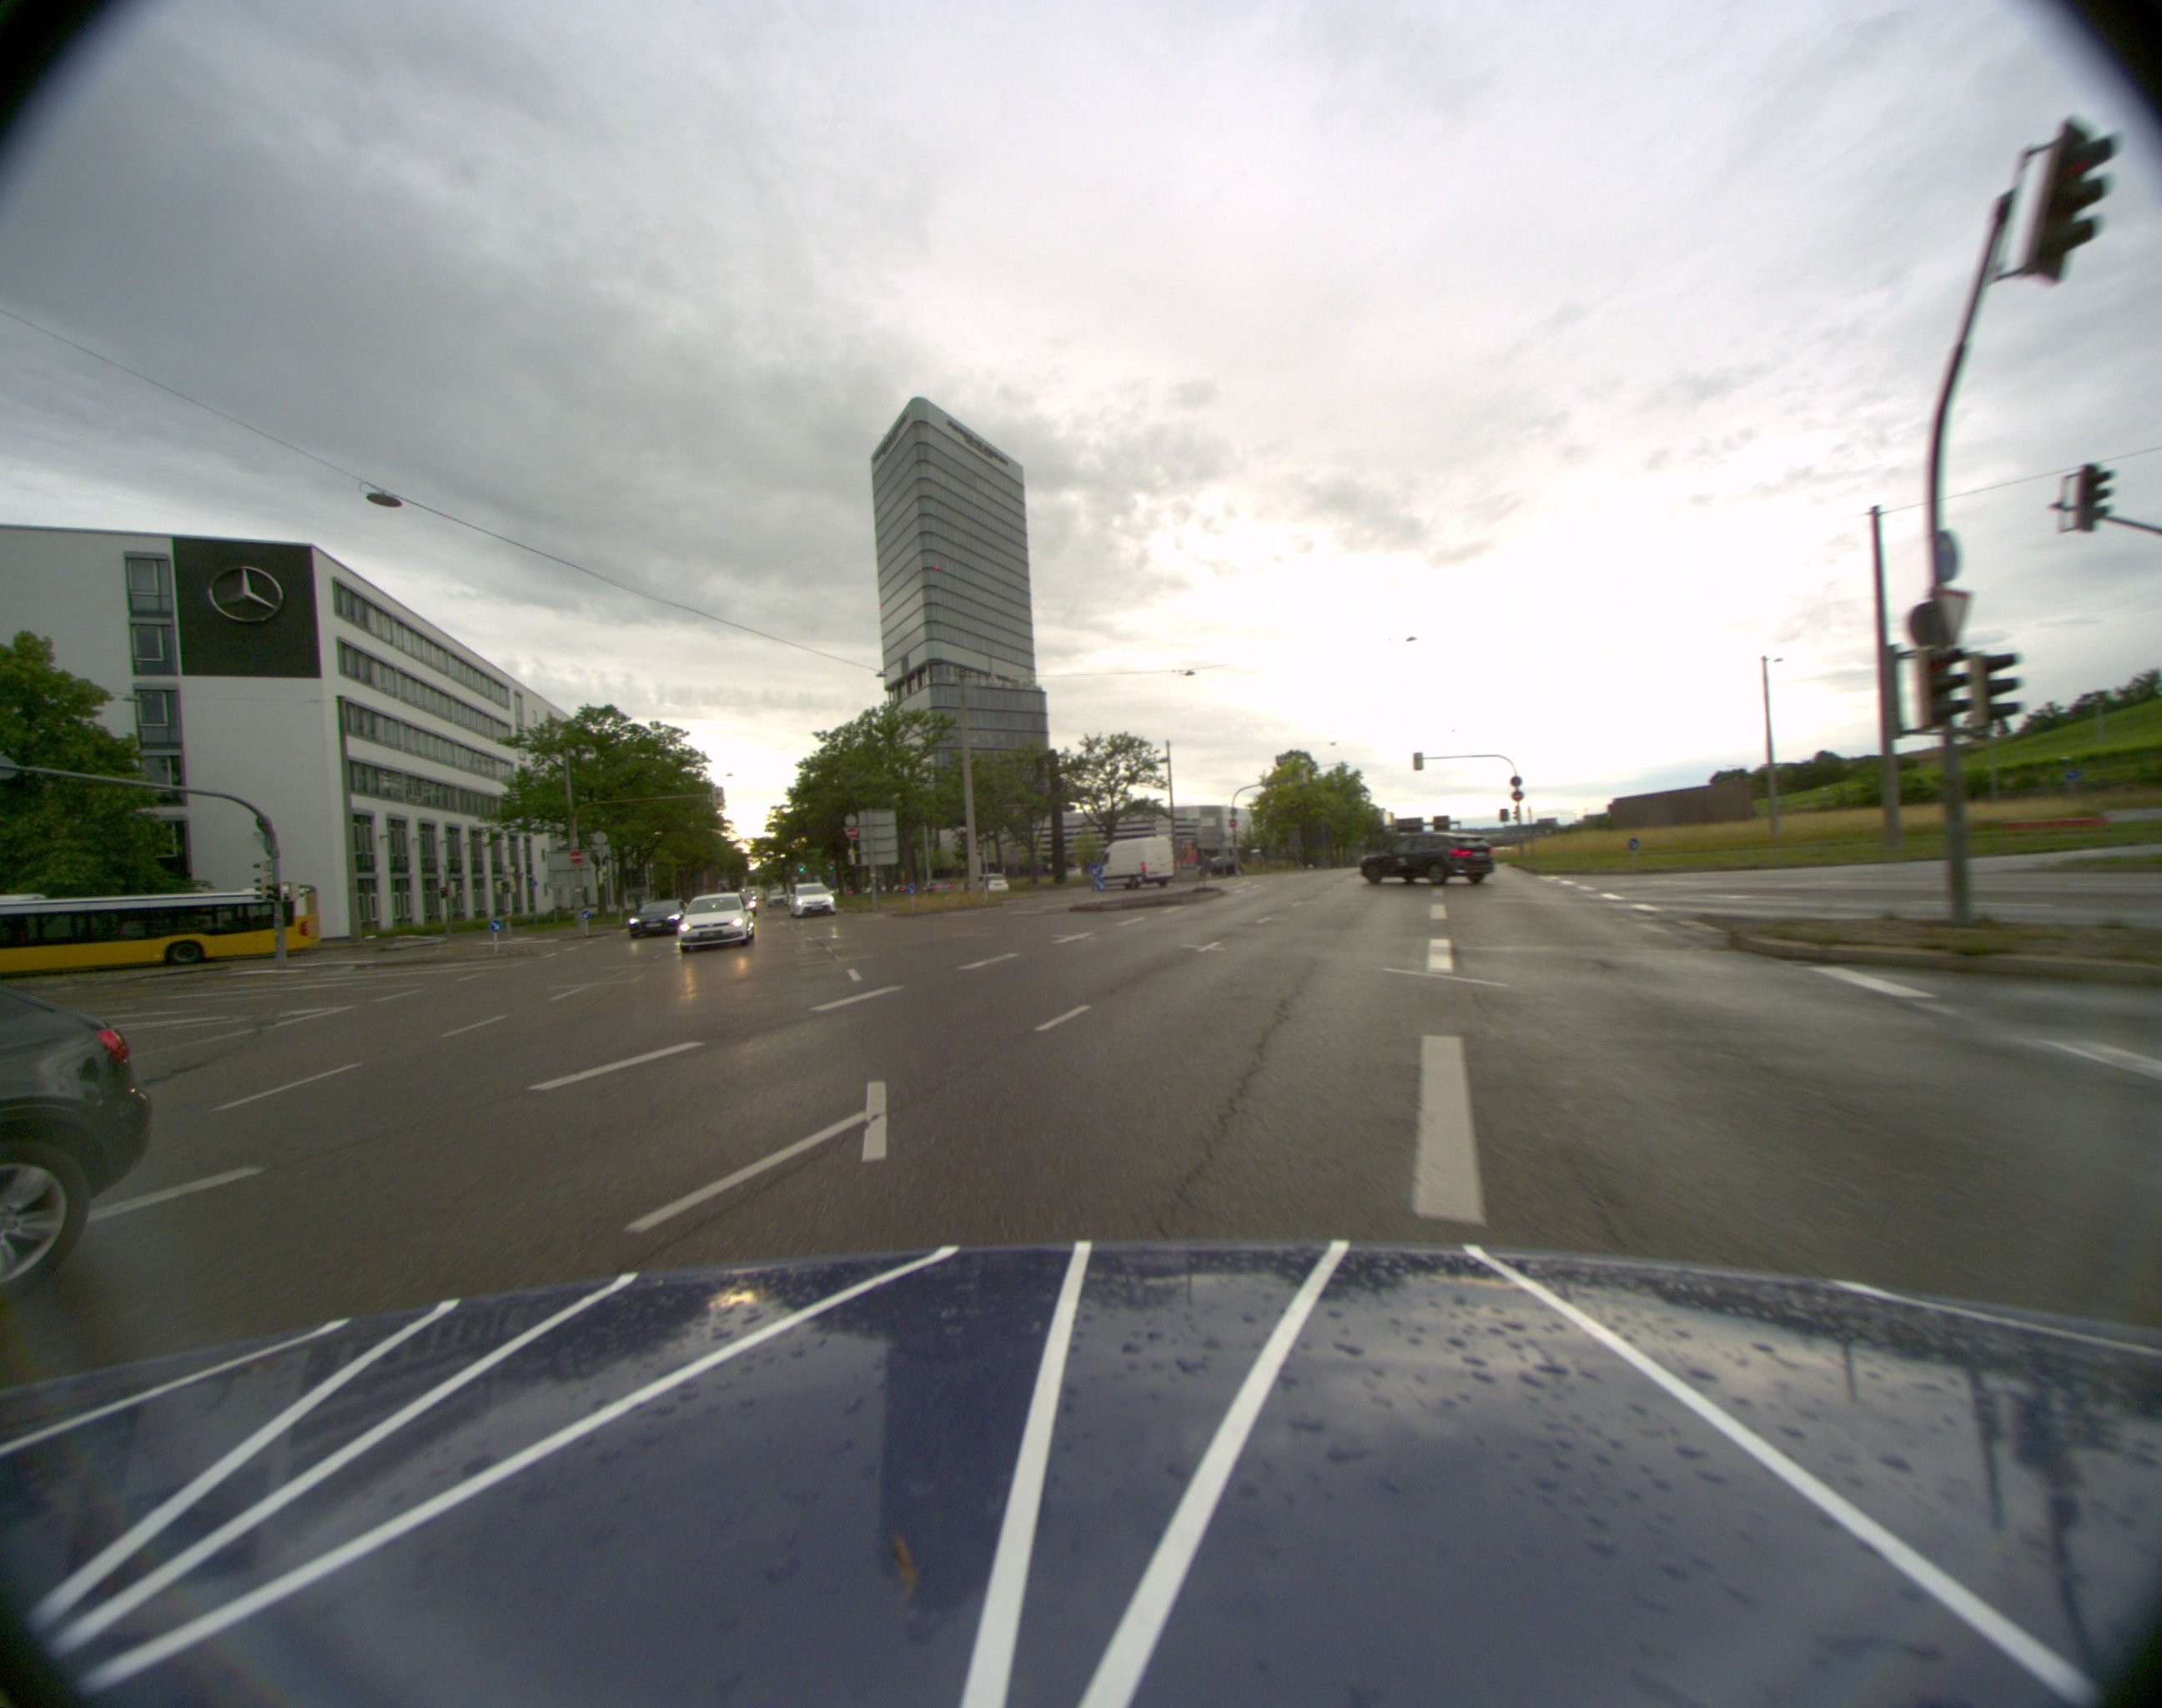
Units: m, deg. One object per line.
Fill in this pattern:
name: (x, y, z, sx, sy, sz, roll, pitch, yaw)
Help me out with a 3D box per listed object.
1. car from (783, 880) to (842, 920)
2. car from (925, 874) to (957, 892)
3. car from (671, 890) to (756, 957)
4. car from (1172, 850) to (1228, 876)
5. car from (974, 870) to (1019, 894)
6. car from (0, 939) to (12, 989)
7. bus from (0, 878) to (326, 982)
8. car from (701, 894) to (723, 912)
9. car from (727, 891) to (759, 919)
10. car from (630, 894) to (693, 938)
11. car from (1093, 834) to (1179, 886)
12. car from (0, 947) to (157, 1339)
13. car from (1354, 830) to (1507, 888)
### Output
car: (-12.889, 2.141, 36.341, 1.830, 1.575, 4.287, -6, 2, -29)
car: (-13.299, 2.751, 71.906, 1.786, 1.476, 4.048, -4, 0, -27)
car: (-10.193, 1.846, 21.341, 1.732, 1.464, 4.257, -5, 0, -22)
car: (9.013, 0.659, 57.353, 4.006, 1.703, 1.799, -4, 0, -35)
car: (-5.803, 1.899, 51.862, 1.685, 1.476, 3.784, -4, 0, -27)
car: (-33.004, 3.313, 21.068, 4.117, 1.406, 1.731, -4, 0, -1)
bus: (-38.148, 2.976, 29.760, 11.863, 3.182, 1.995, -4, 1, -35)
car: (-36.899, 4.889, 76.023, 1.613, 1.505, 3.627, -4, 0, -21)
car: (-20.058, 2.970, 45.187, 1.572, 1.406, 3.873, -4, 0, -23)
car: (-16.451, 2.374, 29.960, 1.762, 1.390, 3.993, -4, 0, -24)
car: (2.918, 0.413, 41.720, 1.934, 2.569, 5.449, -4, 0, -28)
car: (-5.133, 1.242, 1.496, 1.730, 1.525, 4.124, -3, 0, -6)
car: (11.155, 0.205, 24.581, 1.741, 1.587, 4.333, -4, 0, -24)
